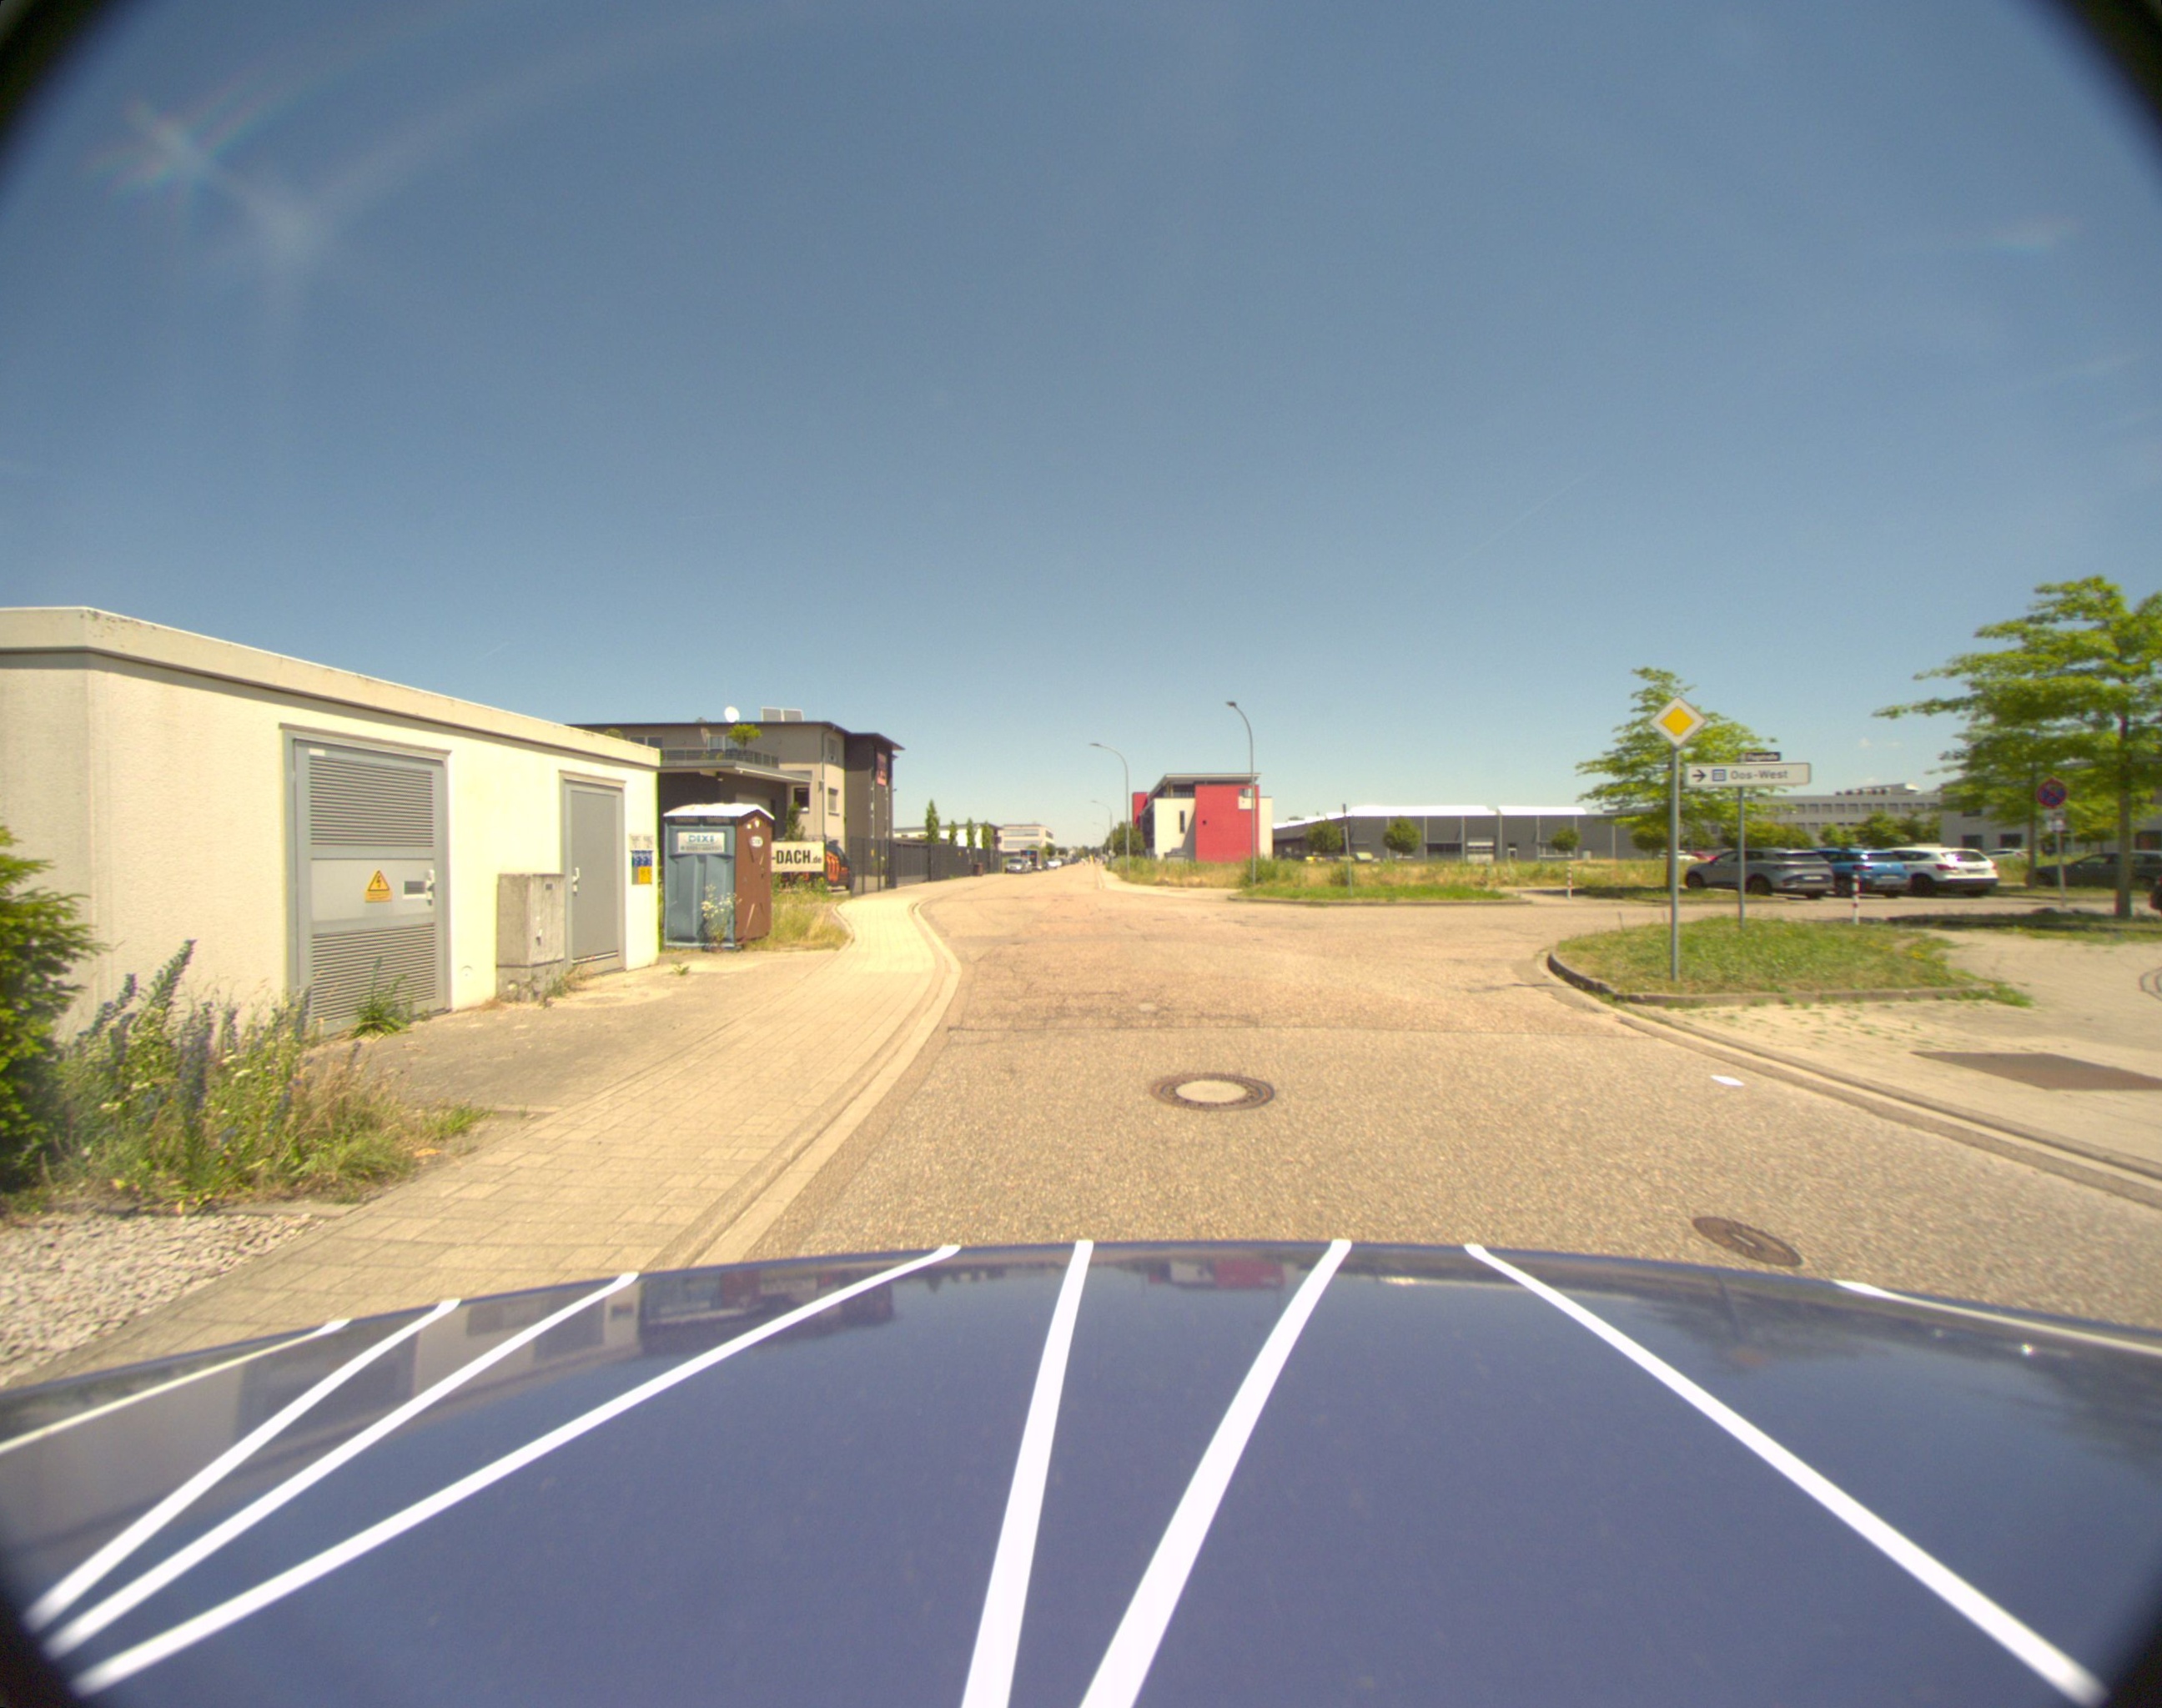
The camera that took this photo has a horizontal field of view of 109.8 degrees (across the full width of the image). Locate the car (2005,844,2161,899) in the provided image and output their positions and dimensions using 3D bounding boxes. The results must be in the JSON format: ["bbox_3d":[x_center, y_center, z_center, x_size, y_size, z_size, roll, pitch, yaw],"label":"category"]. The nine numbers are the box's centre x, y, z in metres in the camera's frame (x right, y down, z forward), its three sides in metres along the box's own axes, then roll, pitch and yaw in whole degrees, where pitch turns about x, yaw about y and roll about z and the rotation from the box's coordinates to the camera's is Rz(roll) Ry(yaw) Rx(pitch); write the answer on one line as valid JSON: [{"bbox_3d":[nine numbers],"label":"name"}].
[{"bbox_3d":[34.605,0.533,25.582,1.956,1.688,4.205,-1,0,3],"label":"car"}]

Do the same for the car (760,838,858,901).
[{"bbox_3d":[-10.172,0.546,28.850,1.919,2.149,4.780,-1,0,1],"label":"car"}]

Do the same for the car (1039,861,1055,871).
[{"bbox_3d":[-4.578,1.644,102.284,1.828,1.269,3.886,0,0,2],"label":"car"}]

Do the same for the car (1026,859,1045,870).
[{"bbox_3d":[-5.128,1.201,86.815,1.828,1.269,3.886,0,0,2],"label":"car"}]

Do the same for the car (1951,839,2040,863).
[{"bbox_3d":[69.641,-0.194,57.957,1.998,1.739,4.000,0,0,0],"label":"car"}]

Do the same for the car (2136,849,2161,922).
[{"bbox_3d":[22.348,0.578,13.652,1.609,1.466,3.801,-1,-2,4],"label":"car"}]

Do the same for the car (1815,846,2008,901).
[{"bbox_3d":[27.918,0.619,25.792,1.956,1.688,4.309,-1,0,3],"label":"car"}]

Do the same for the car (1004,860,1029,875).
[{"bbox_3d":[-5.820,1.186,69.098,1.828,1.269,3.886,0,0,2],"label":"car"}]

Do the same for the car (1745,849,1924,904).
[{"bbox_3d":[25.503,0.726,25.972,1.956,1.688,4.309,-1,0,3],"label":"car"}]

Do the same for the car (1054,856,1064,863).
[{"bbox_3d":[-4.124,1.015,142.900,1.828,1.269,3.886,0,0,2],"label":"car"}]

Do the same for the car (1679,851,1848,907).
[{"bbox_3d":[22.756,0.771,25.610,1.956,1.688,4.309,-1,0,3],"label":"car"}]

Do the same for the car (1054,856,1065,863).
[{"bbox_3d":[-4.175,1.107,148.903,1.828,1.269,3.886,0,0,2],"label":"car"}]
